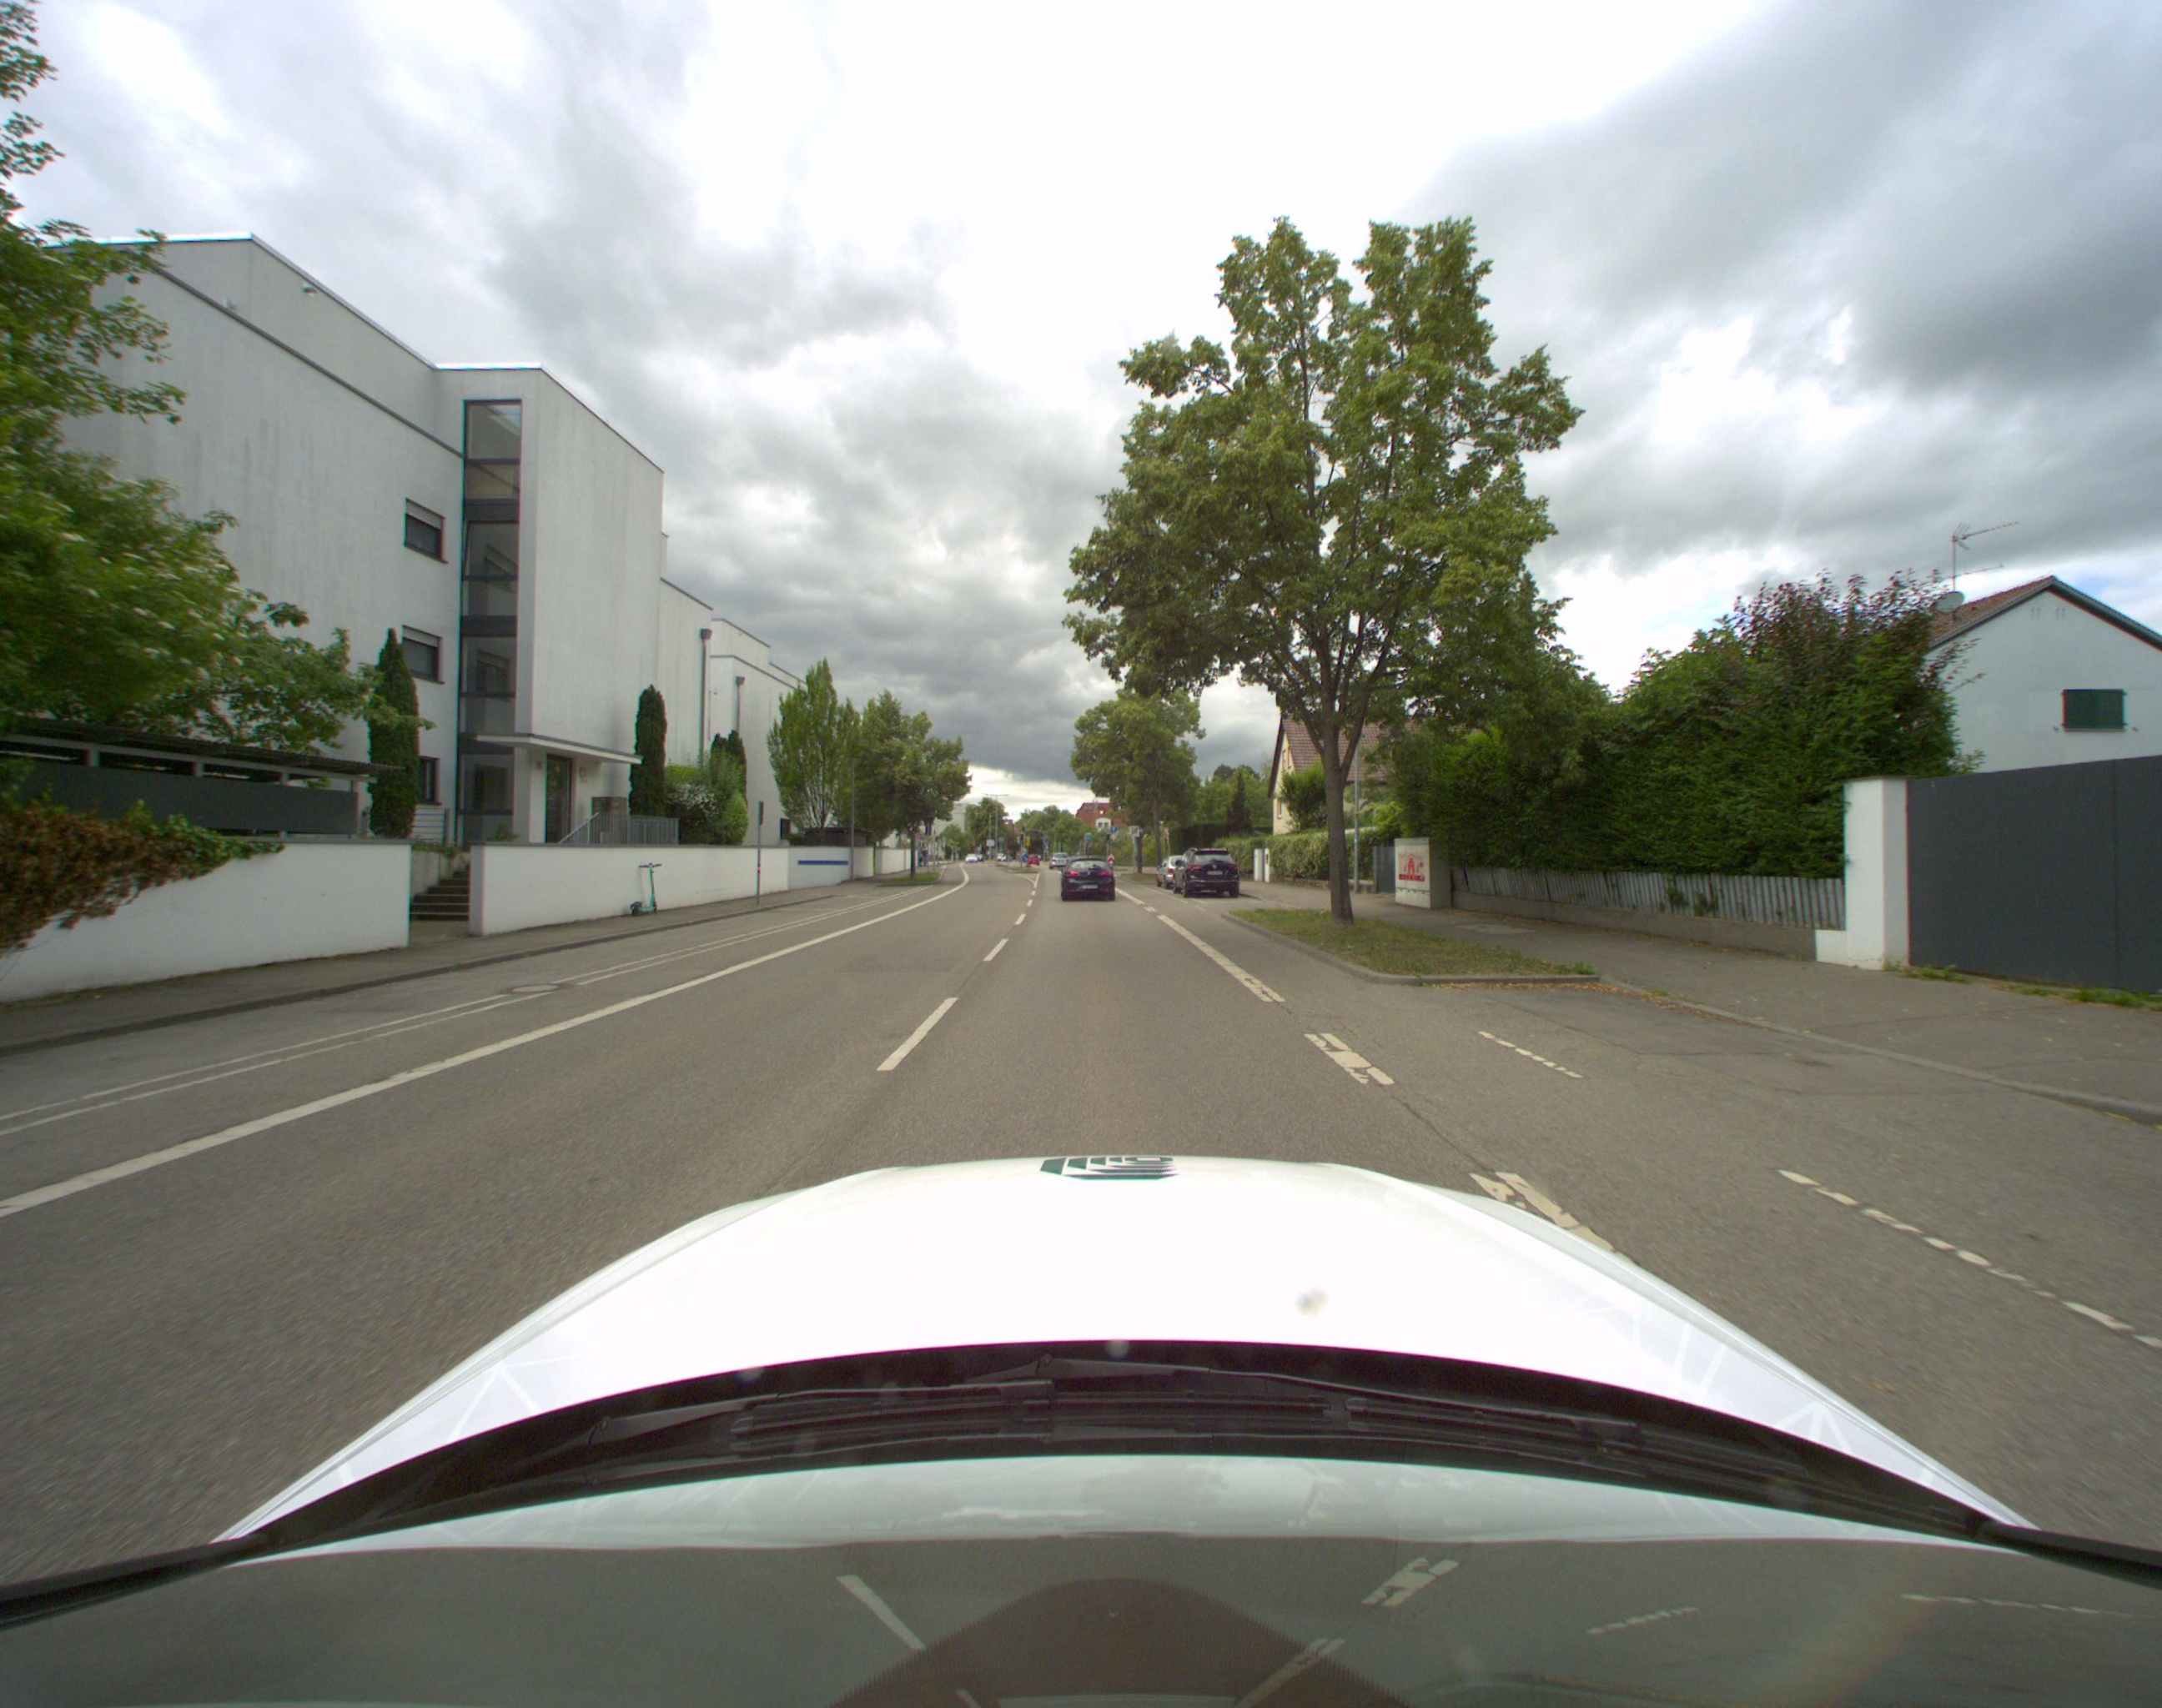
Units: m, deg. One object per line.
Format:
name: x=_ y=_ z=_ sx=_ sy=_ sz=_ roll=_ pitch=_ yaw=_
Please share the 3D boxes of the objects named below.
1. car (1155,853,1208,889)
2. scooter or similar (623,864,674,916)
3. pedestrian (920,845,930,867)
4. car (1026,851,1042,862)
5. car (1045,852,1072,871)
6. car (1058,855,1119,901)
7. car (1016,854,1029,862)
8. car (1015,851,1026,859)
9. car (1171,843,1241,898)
car: x=4.165 y=0.683 z=34.261 sx=1.681 sy=1.449 sz=3.576 roll=0 pitch=0 yaw=-2
scooter or similar: x=-10.040 y=0.824 z=18.931 sx=0.500 sy=1.154 sz=1.301 roll=0 pitch=0 yaw=-1
pedestrian: x=-14.464 y=0.182 z=75.552 sx=0.751 sy=2.054 sz=0.723 roll=1 pitch=-1 yaw=-5
car: x=-6.557 y=0.380 z=113.075 sx=1.991 sy=1.530 sz=3.991 roll=0 pitch=0 yaw=-6
car: x=-2.061 y=0.676 z=74.263 sx=1.992 sy=1.557 sz=3.989 roll=-3 pitch=0 yaw=-8
car: x=0.179 y=0.770 z=27.382 sx=1.780 sy=1.449 sz=3.552 roll=0 pitch=0 yaw=-4
car: x=-10.525 y=0.768 z=147.386 sx=1.987 sy=1.508 sz=3.999 roll=0 pitch=-1 yaw=0
car: x=-13.010 y=0.277 z=174.556 sx=1.966 sy=1.675 sz=3.878 roll=0 pitch=0 yaw=1
car: x=4.262 y=0.533 z=28.314 sx=1.783 sy=1.772 sz=3.981 roll=0 pitch=0 yaw=-1
